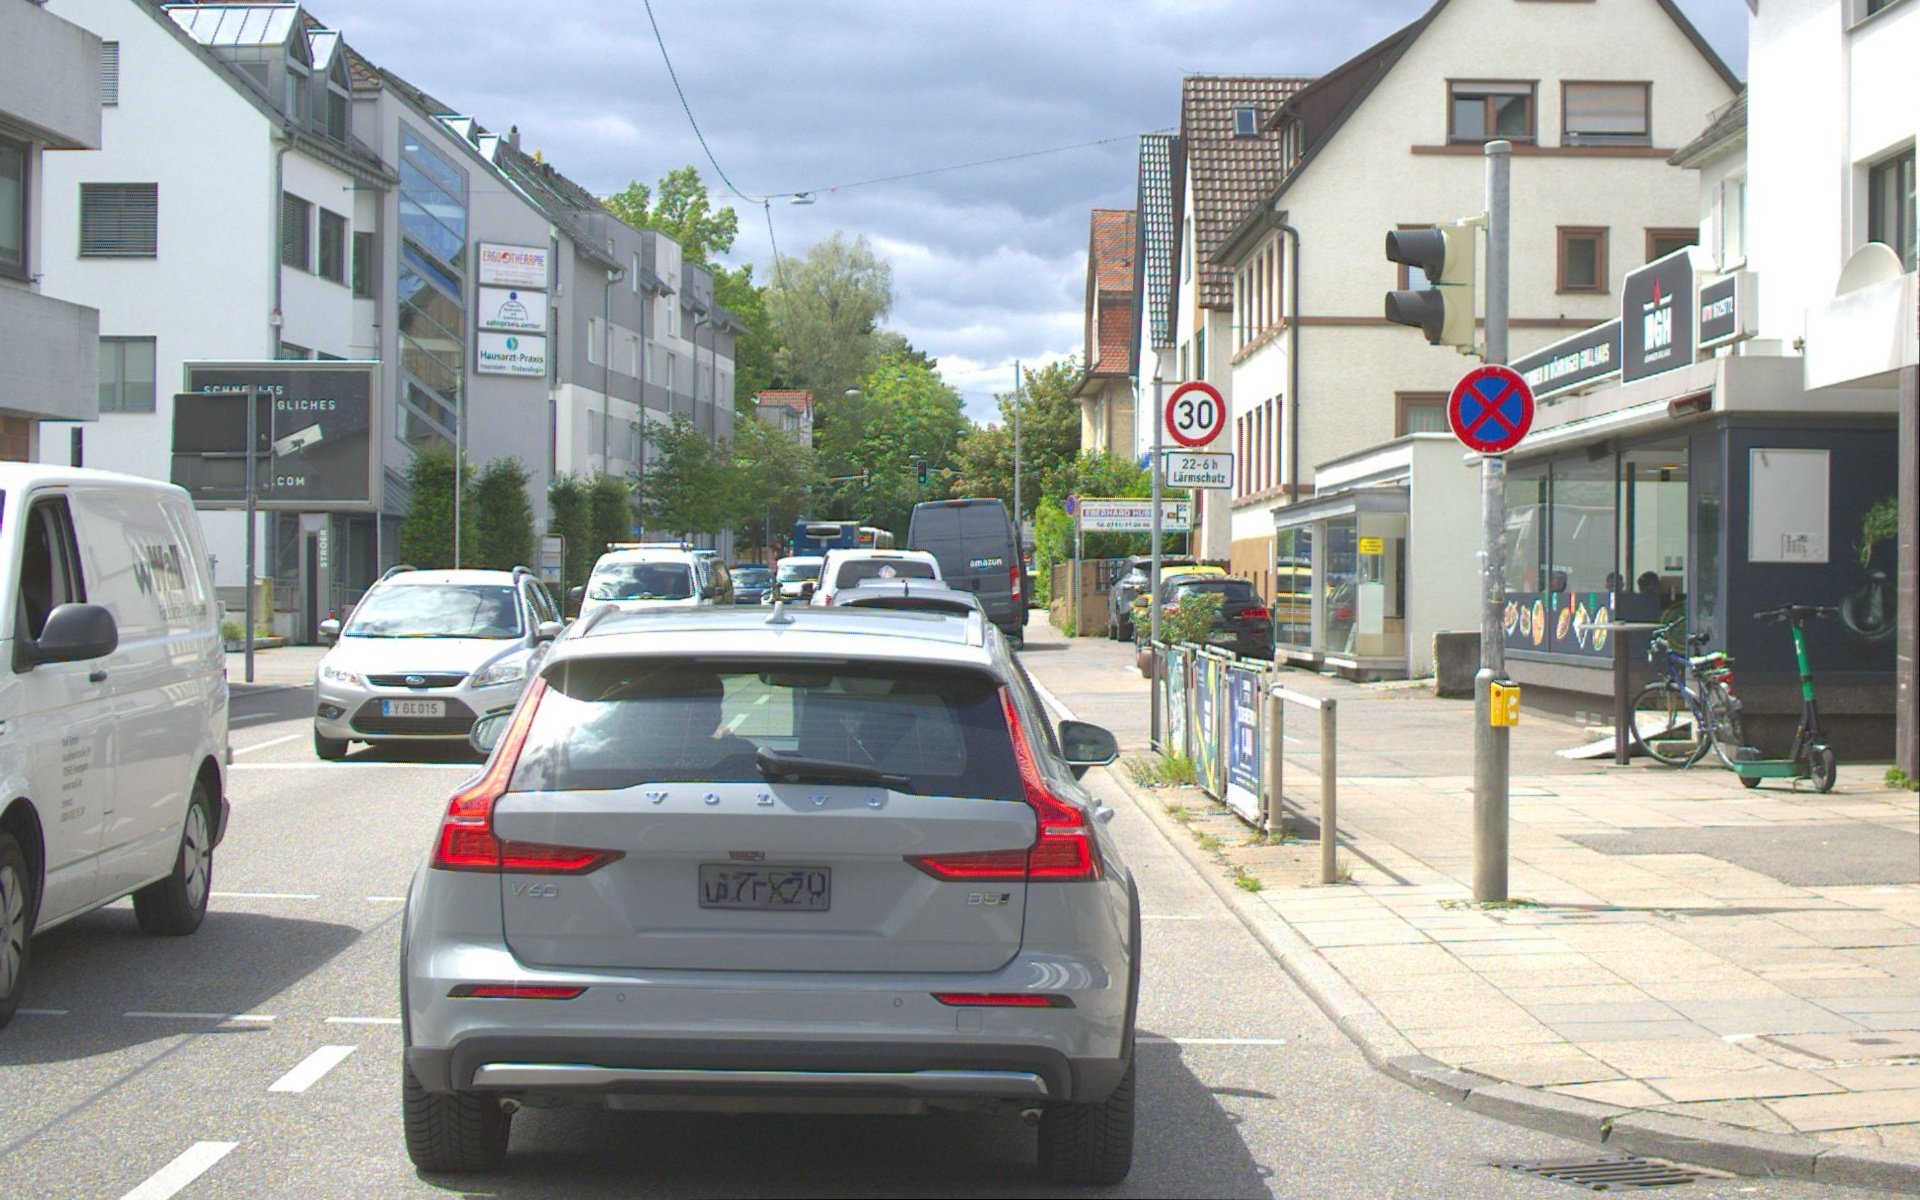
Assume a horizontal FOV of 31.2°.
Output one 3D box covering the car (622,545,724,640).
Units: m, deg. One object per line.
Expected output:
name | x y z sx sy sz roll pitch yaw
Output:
car | -5.904 -0.160 71.126 1.838 1.911 4.531 0 0 -1

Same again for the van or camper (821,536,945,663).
van or camper | -1.180 0.026 52.756 1.819 1.829 4.000 1 -1 -1

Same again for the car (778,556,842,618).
car | -4.649 -0.394 107.145 1.797 1.810 4.000 1 -1 0

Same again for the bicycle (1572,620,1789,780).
bicycle | 5.532 0.746 26.542 0.554 1.140 2.301 0 1 -18

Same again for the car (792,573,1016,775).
car | -0.459 0.552 27.563 1.650 1.477 3.607 1 0 -1

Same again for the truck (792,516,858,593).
truck | -5.138 -1.745 131.951 2.276 2.876 7.079 0 1 0

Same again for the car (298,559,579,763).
car | -4.247 0.446 28.562 1.668 1.548 4.215 1 1 0

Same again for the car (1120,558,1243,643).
car | 3.884 0.028 60.778 1.883 1.411 3.971 1 -1 0

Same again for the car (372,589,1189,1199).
car | -0.453 0.729 9.797 1.835 1.481 4.000 1 0 -1

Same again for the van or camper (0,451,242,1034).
van or camper | -4.066 0.409 12.790 1.864 1.891 4.693 1 1 -1

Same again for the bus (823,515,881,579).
bus | -4.648 -2.293 148.562 2.276 2.659 7.430 0 1 0

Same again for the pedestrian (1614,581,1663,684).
pedestrian | 6.974 0.334 35.323 0.414 1.048 0.367 0 1 -2

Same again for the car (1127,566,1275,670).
car | 3.575 0.287 51.575 1.710 1.459 4.000 1 -1 -3

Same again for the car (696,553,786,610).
car | -5.570 -0.491 87.802 1.762 1.421 4.000 0 1 4

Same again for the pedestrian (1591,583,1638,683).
pedestrian | 6.929 0.348 36.374 0.414 1.048 0.367 0 1 -2

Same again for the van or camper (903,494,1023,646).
van or camper | 0.049 -0.562 63.264 2.123 2.677 4.781 0 1 0

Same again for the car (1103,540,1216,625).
car | 3.741 -0.302 65.148 1.883 1.495 3.971 1 -1 0

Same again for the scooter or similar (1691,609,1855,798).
scooter or similar | 5.561 0.695 23.563 0.340 1.249 1.246 -2 0 -27

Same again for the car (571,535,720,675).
car | -4.550 0.060 50.208 1.838 1.911 4.156 1 0 -1
